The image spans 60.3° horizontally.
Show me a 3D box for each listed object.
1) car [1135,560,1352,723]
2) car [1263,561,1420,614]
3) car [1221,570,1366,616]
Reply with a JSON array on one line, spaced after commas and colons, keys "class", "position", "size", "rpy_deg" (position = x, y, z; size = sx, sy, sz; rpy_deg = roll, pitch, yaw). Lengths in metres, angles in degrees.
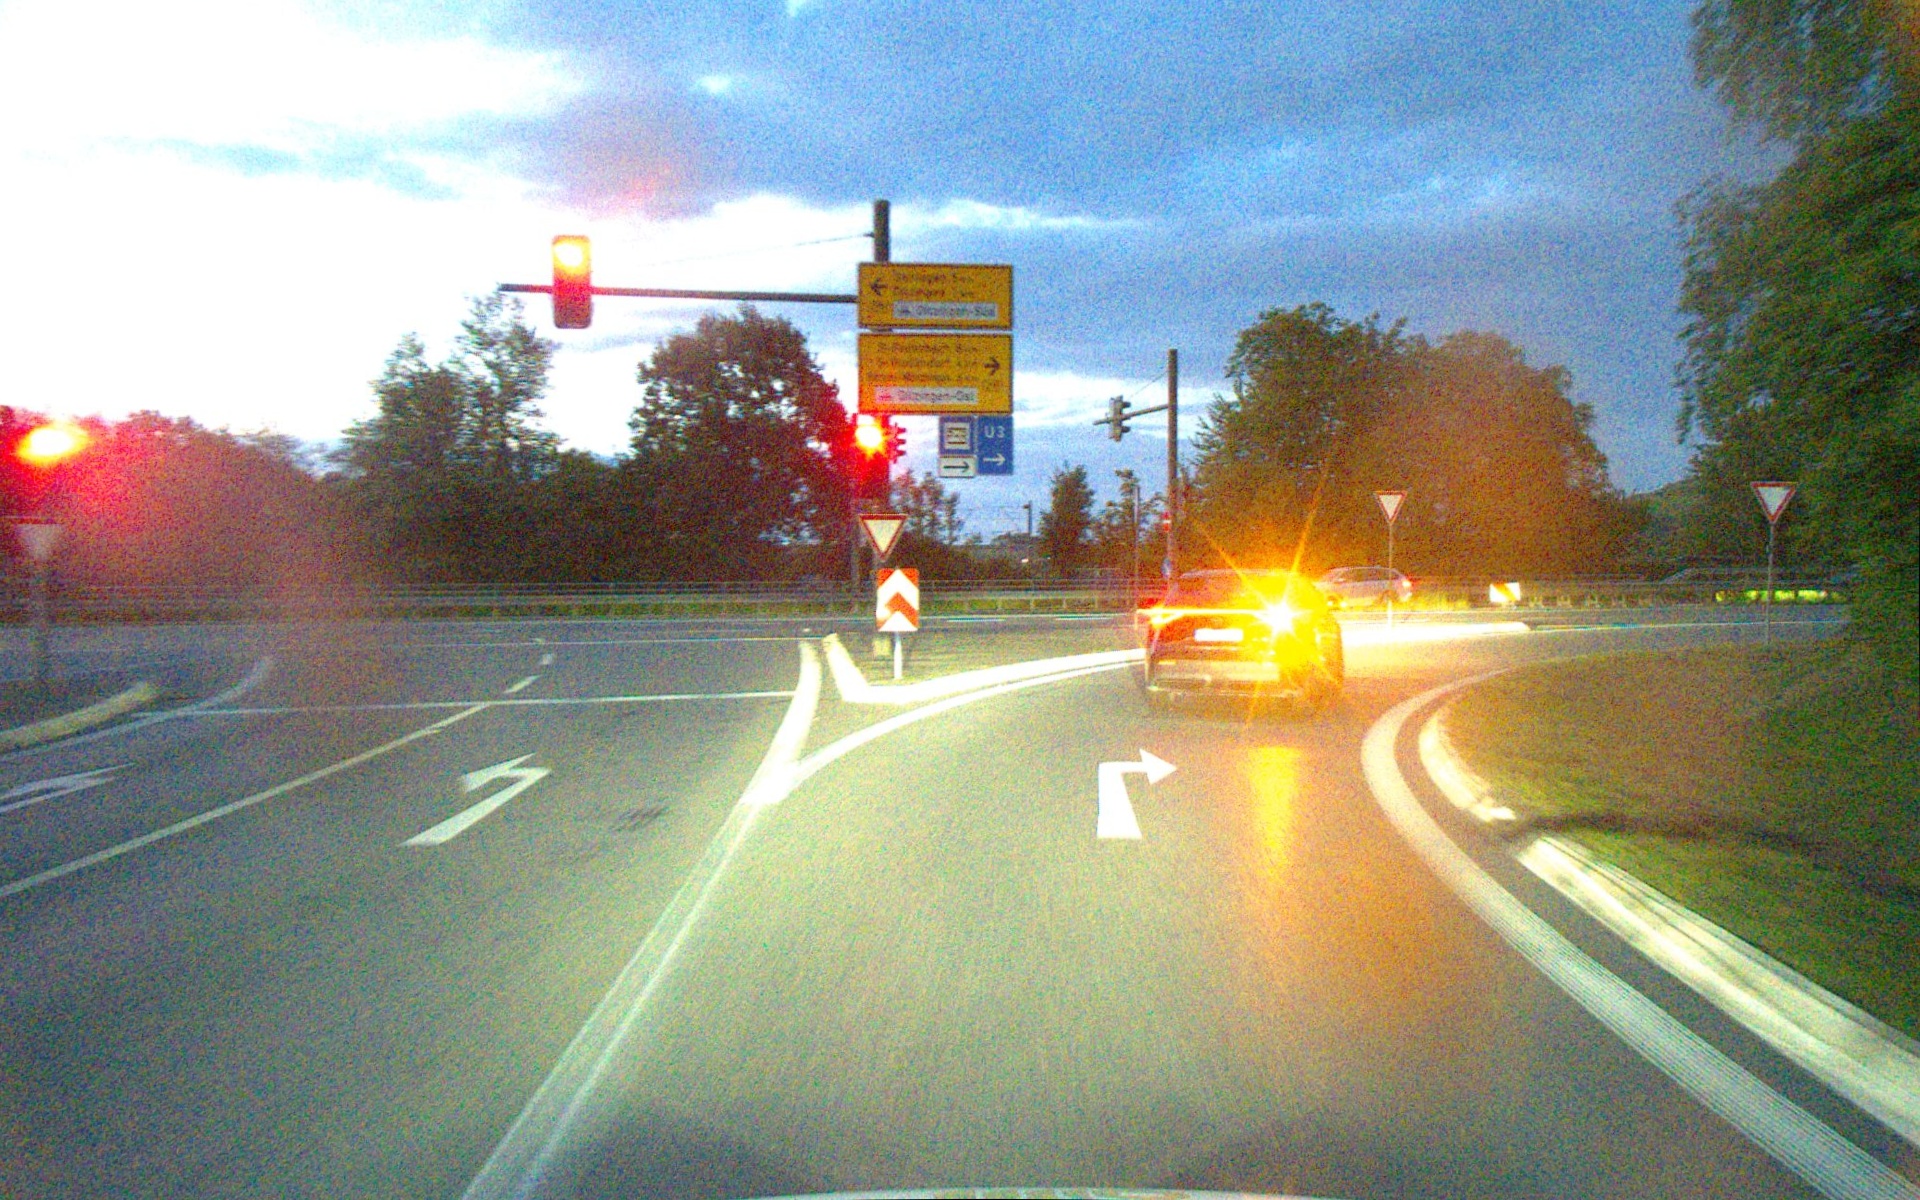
[{"class": "car", "position": [3.489, 0.385, 19.642], "size": [1.861, 1.648, 4.559], "rpy_deg": [2, 1, 18]}, {"class": "car", "position": [12.650, -0.419, 54.918], "size": [4.782, 1.711, 1.990], "rpy_deg": [0, 0, -18]}, {"class": "car", "position": [11.750, -0.272, 58.309], "size": [4.644, 1.478, 1.990], "rpy_deg": [-2, 1, -17]}]
